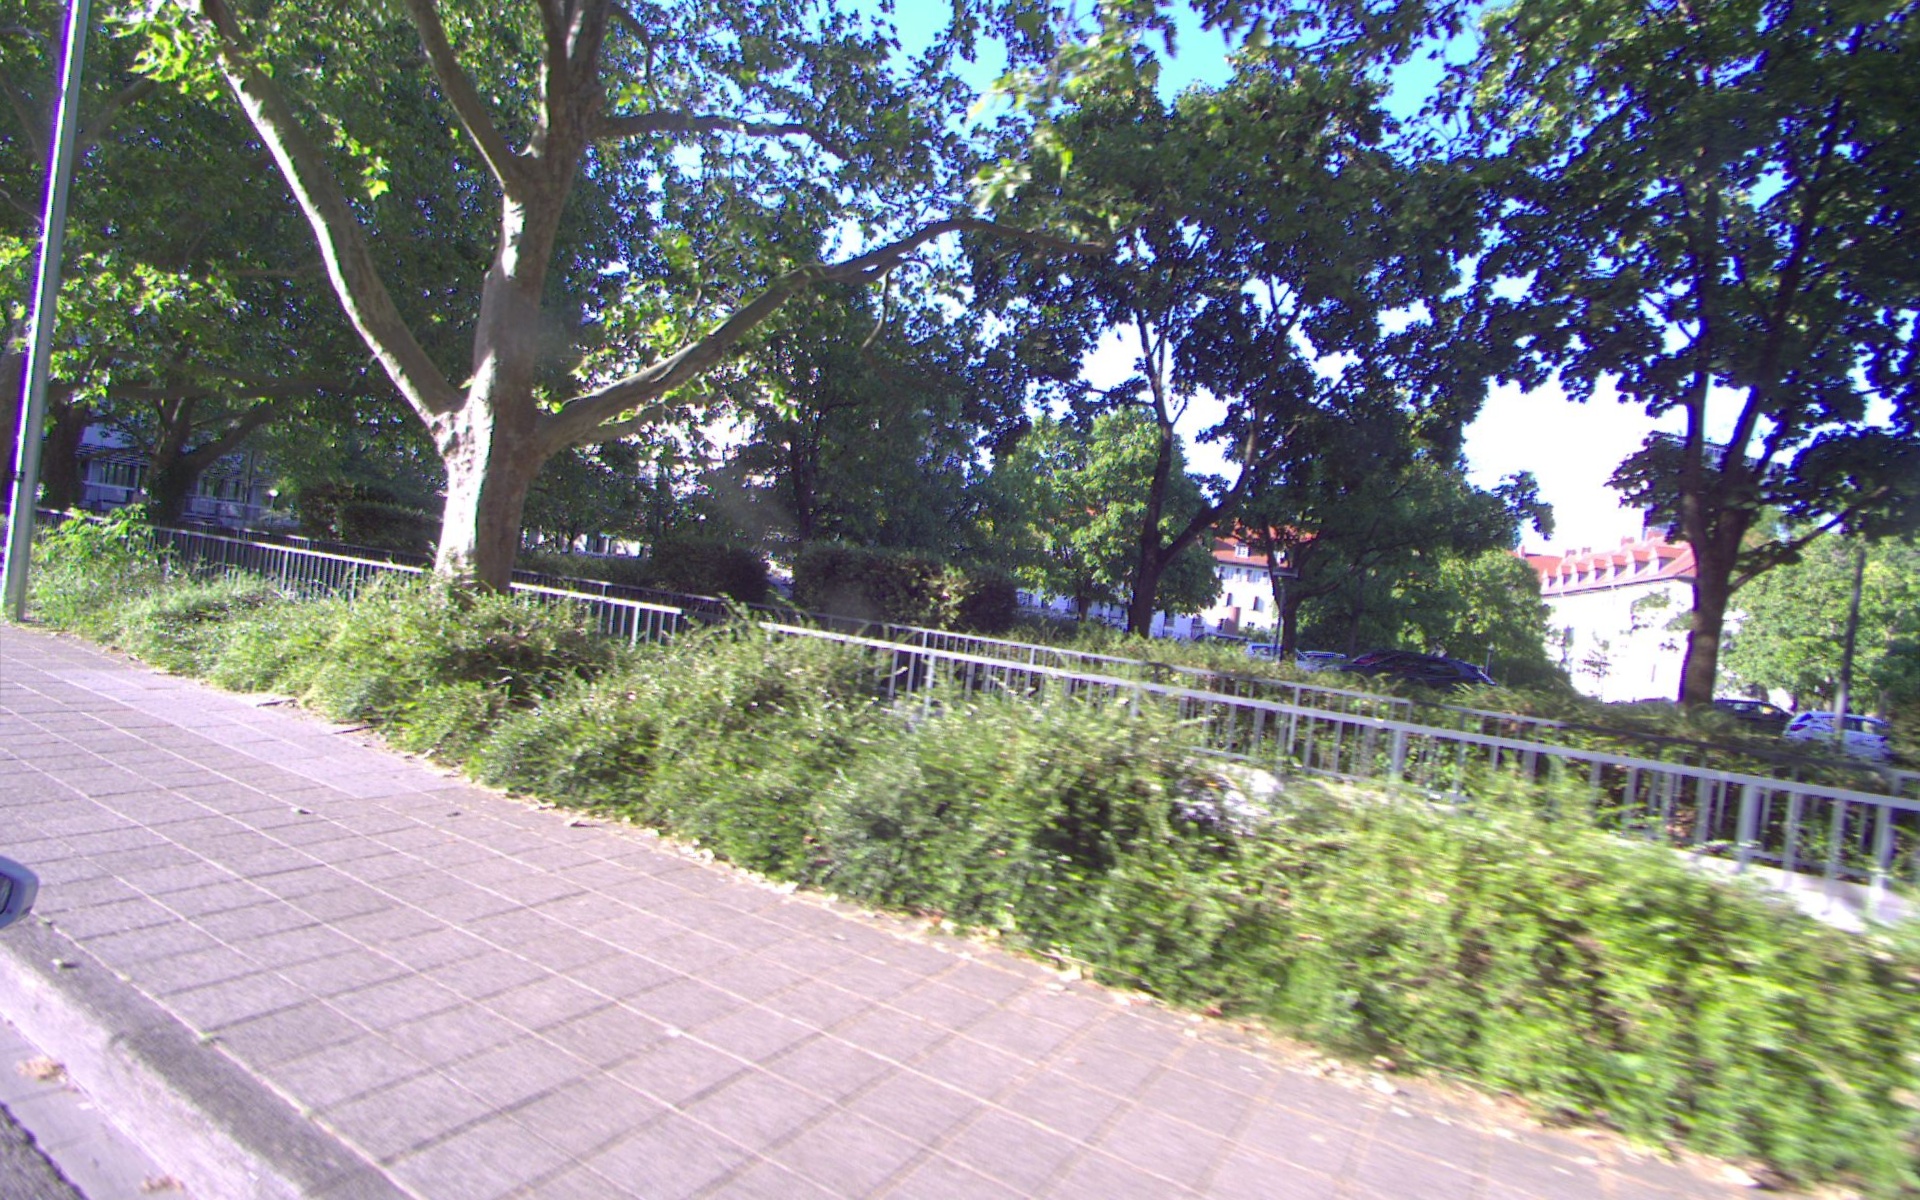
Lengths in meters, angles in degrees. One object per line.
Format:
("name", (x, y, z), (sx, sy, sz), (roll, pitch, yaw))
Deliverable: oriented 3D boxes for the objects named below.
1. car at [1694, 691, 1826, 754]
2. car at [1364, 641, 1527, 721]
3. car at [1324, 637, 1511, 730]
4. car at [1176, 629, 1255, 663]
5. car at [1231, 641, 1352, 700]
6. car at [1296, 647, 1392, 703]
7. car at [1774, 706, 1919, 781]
("car", (34.138, 5.211, 43.080), (3.977, 1.969, 1.922), (8, -1, 30))
("car", (13.912, 2.313, 28.875), (3.933, 1.645, 1.551), (8, -1, 32))
("car", (11.303, 2.024, 24.959), (3.929, 1.646, 1.762), (7, 0, 27))
("car", (16.948, 3.060, 66.698), (4.580, 1.492, 2.011), (8, -1, 32))
("car", (12.761, 2.715, 38.791), (3.933, 1.645, 1.921), (8, -1, 32))
("car", (18.211, 3.512, 47.727), (3.929, 2.039, 1.997), (7, 1, 26))
("car", (27.047, 4.312, 29.993), (3.933, 1.645, 1.921), (8, -1, 32))
